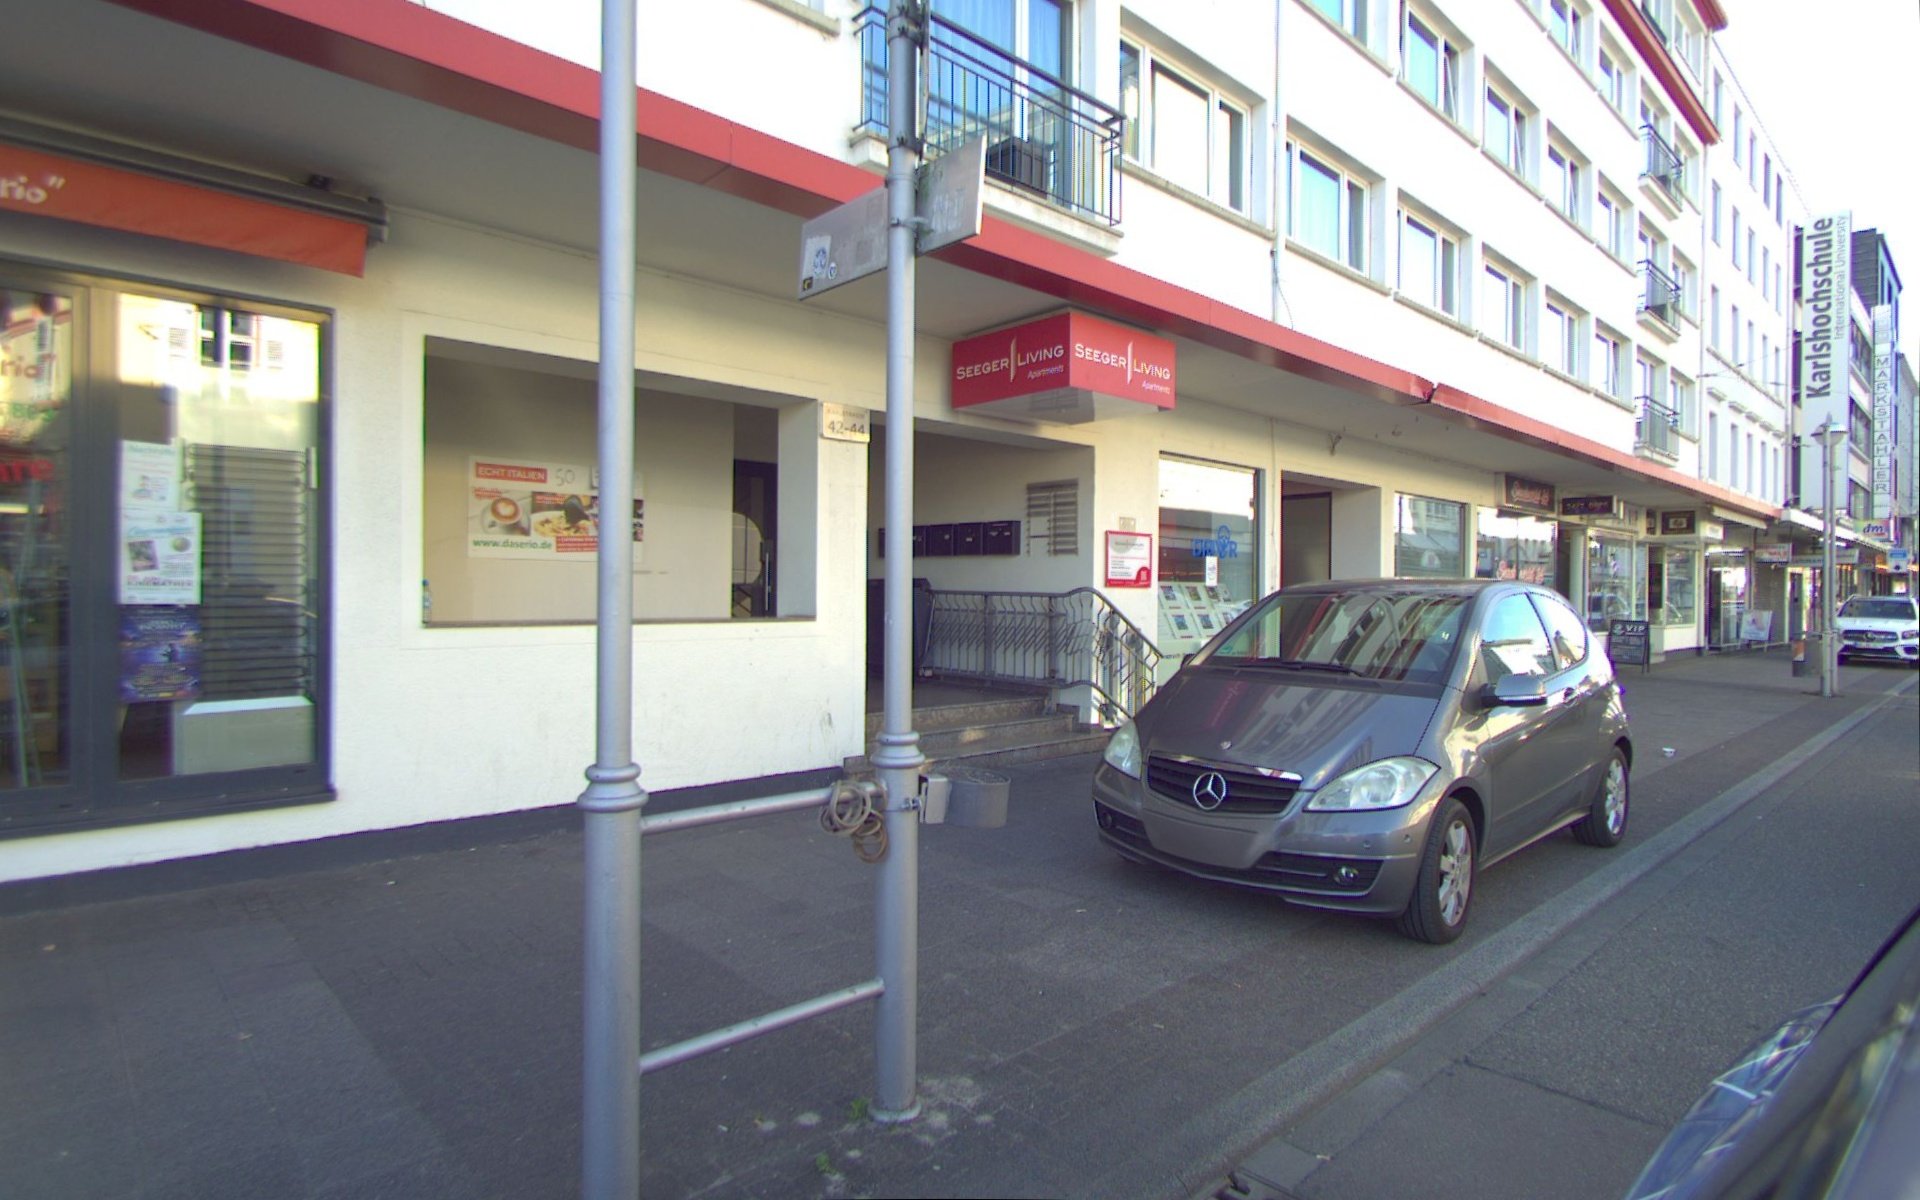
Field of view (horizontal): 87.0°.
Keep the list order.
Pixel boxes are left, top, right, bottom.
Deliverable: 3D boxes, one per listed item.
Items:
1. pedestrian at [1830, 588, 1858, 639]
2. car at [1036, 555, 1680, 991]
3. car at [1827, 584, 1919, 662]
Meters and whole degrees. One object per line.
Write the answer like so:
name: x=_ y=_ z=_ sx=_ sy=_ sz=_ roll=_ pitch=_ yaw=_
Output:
pedestrian: x=32.288 y=0.467 z=36.972 sx=0.794 sy=1.840 sz=0.704 roll=0 pitch=0 yaw=-44
car: x=2.418 y=0.581 z=5.649 sx=3.893 sy=1.588 sz=1.780 roll=-1 pitch=2 yaw=-42
car: x=22.138 y=0.471 z=24.066 sx=4.092 sy=1.684 sz=1.781 roll=-1 pitch=2 yaw=-42
